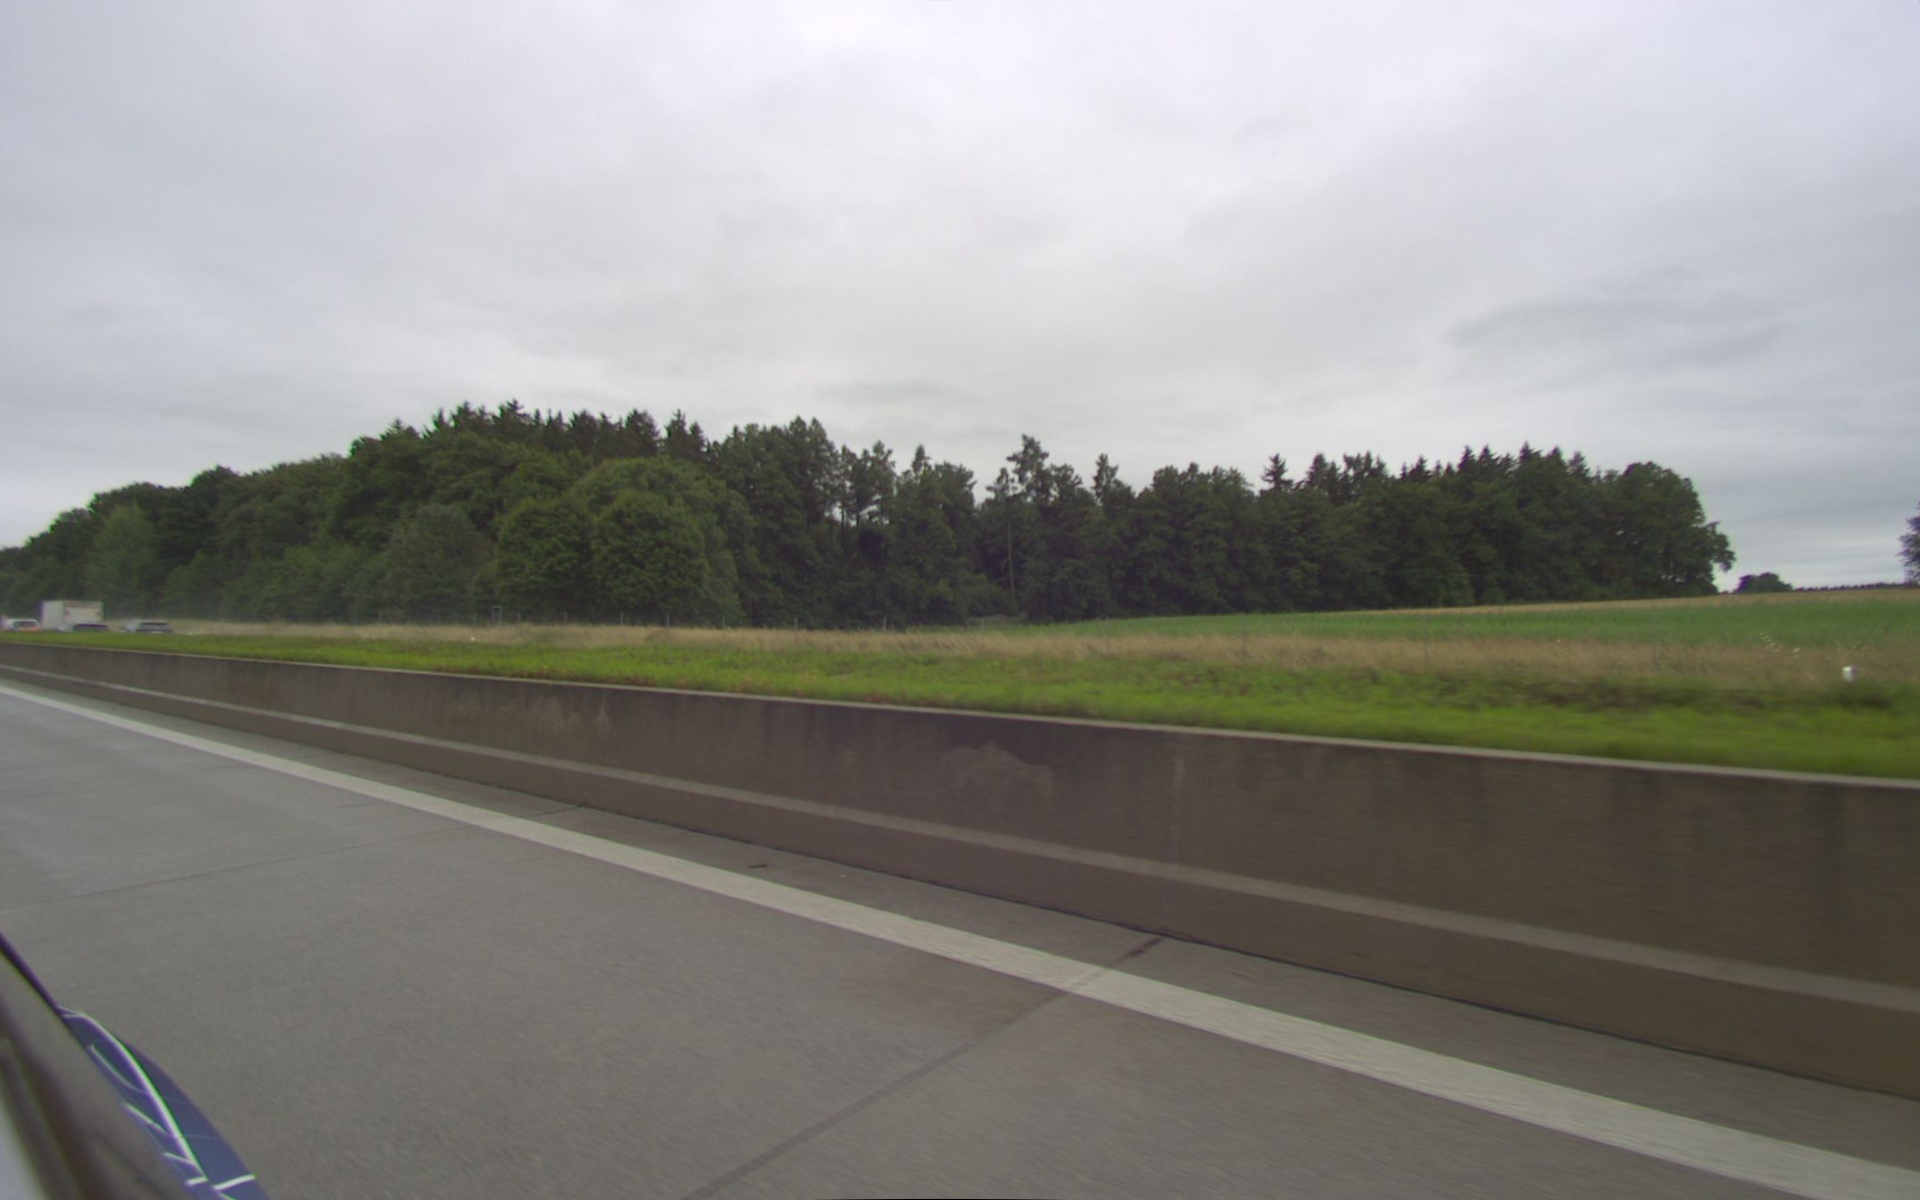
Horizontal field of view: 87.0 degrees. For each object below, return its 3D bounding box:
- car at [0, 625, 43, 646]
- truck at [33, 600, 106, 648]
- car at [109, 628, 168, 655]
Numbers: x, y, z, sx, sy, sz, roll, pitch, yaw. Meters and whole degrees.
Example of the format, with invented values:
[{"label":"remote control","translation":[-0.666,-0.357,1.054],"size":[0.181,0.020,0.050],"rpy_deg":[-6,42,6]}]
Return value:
[{"label":"car","translation":[-76.776,2.895,82.539],"size":[5.846,1.644,2.088],"rpy_deg":[-3,-3,40]},{"label":"truck","translation":[-77.492,2.153,87.917],"size":[12.439,3.885,2.873],"rpy_deg":[-3,-3,40]},{"label":"car","translation":[-44.929,2.260,55.324],"size":[4.618,1.398,1.586],"rpy_deg":[-2,-2,39]}]
